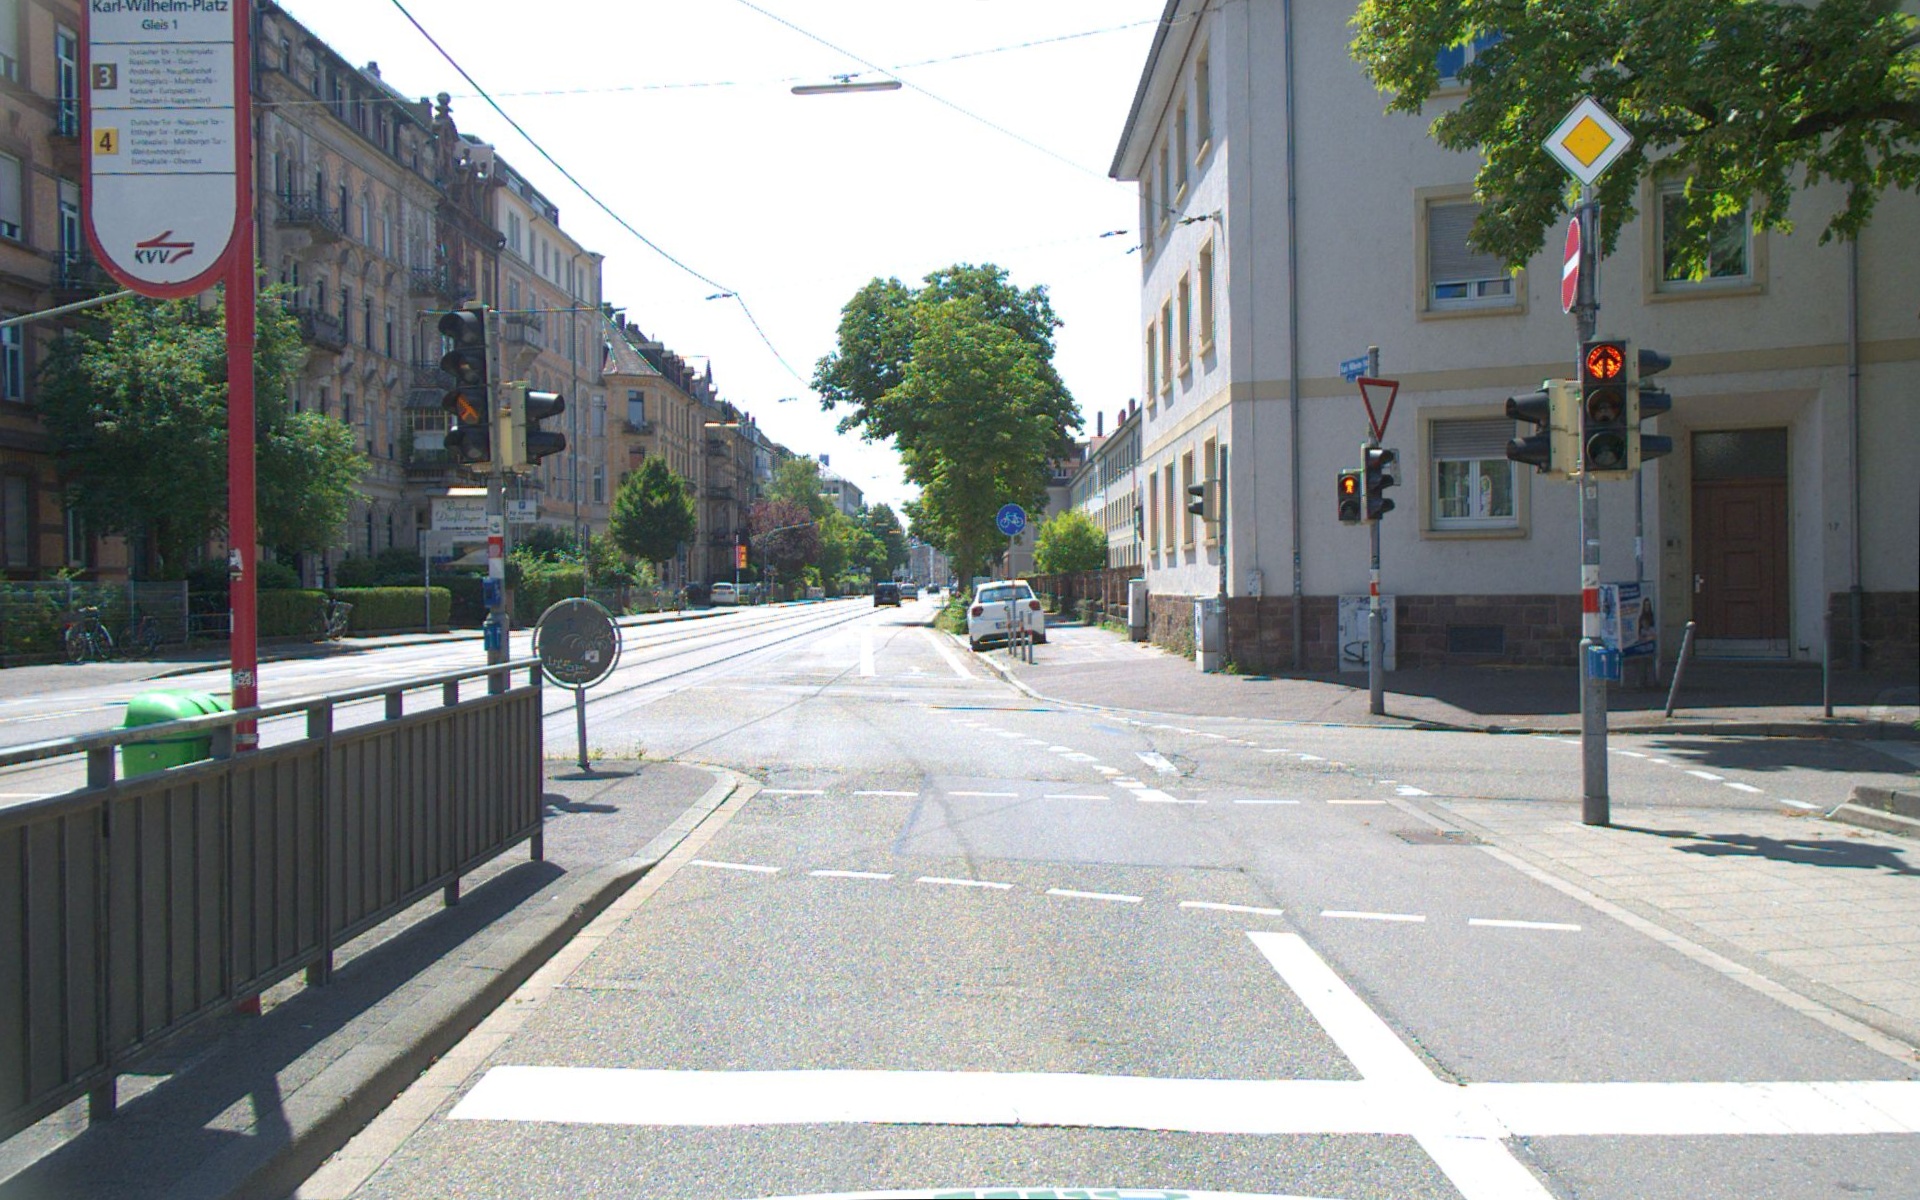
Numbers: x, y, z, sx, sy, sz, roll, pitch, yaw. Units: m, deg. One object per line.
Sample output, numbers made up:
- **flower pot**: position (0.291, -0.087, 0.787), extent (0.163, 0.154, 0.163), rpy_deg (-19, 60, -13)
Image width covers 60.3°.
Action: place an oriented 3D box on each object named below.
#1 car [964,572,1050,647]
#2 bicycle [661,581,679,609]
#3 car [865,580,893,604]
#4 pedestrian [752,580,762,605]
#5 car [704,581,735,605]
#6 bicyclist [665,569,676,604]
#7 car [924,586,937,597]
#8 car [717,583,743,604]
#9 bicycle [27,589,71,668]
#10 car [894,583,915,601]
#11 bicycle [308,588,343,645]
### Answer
- **car**: position (1.024, 0.201, 37.995), extent (1.712, 1.498, 3.937), rpy_deg (-4, 0, -1)
- **bicycle**: position (-15.192, -0.262, 86.749), extent (0.565, 1.412, 2.501), rpy_deg (0, 0, -1)
- **car**: position (-5.051, -0.498, 103.376), extent (1.493, 1.469, 3.364), rpy_deg (-2, 0, 0)
- **pedestrian**: position (-14.280, -0.524, 116.316), extent (0.664, 1.758, 0.677), rpy_deg (0, 0, -1)
- **car**: position (-16.887, -0.480, 116.223), extent (1.651, 1.498, 3.936), rpy_deg (-4, 0, -3)
- **bicyclist**: position (-15.182, -0.711, 86.724), extent (0.531, 1.794, 0.498), rpy_deg (0, 0, -1)
- **car**: position (-4.259, -1.225, 238.085), extent (1.596, 1.498, 3.562), rpy_deg (-4, 0, -3)
- **car**: position (-17.297, -0.486, 124.487), extent (1.596, 1.498, 3.562), rpy_deg (-4, 0, -3)
- **bicycle**: position (-17.040, 0.507, 30.961), extent (0.607, 1.420, 2.288), rpy_deg (0, 0, -26)
- **car**: position (-4.870, -0.686, 145.606), extent (1.712, 1.498, 3.937), rpy_deg (-4, 0, -1)
- **bicycle**: position (-15.868, 0.407, 41.342), extent (0.584, 1.380, 2.419), rpy_deg (0, 0, -26)
